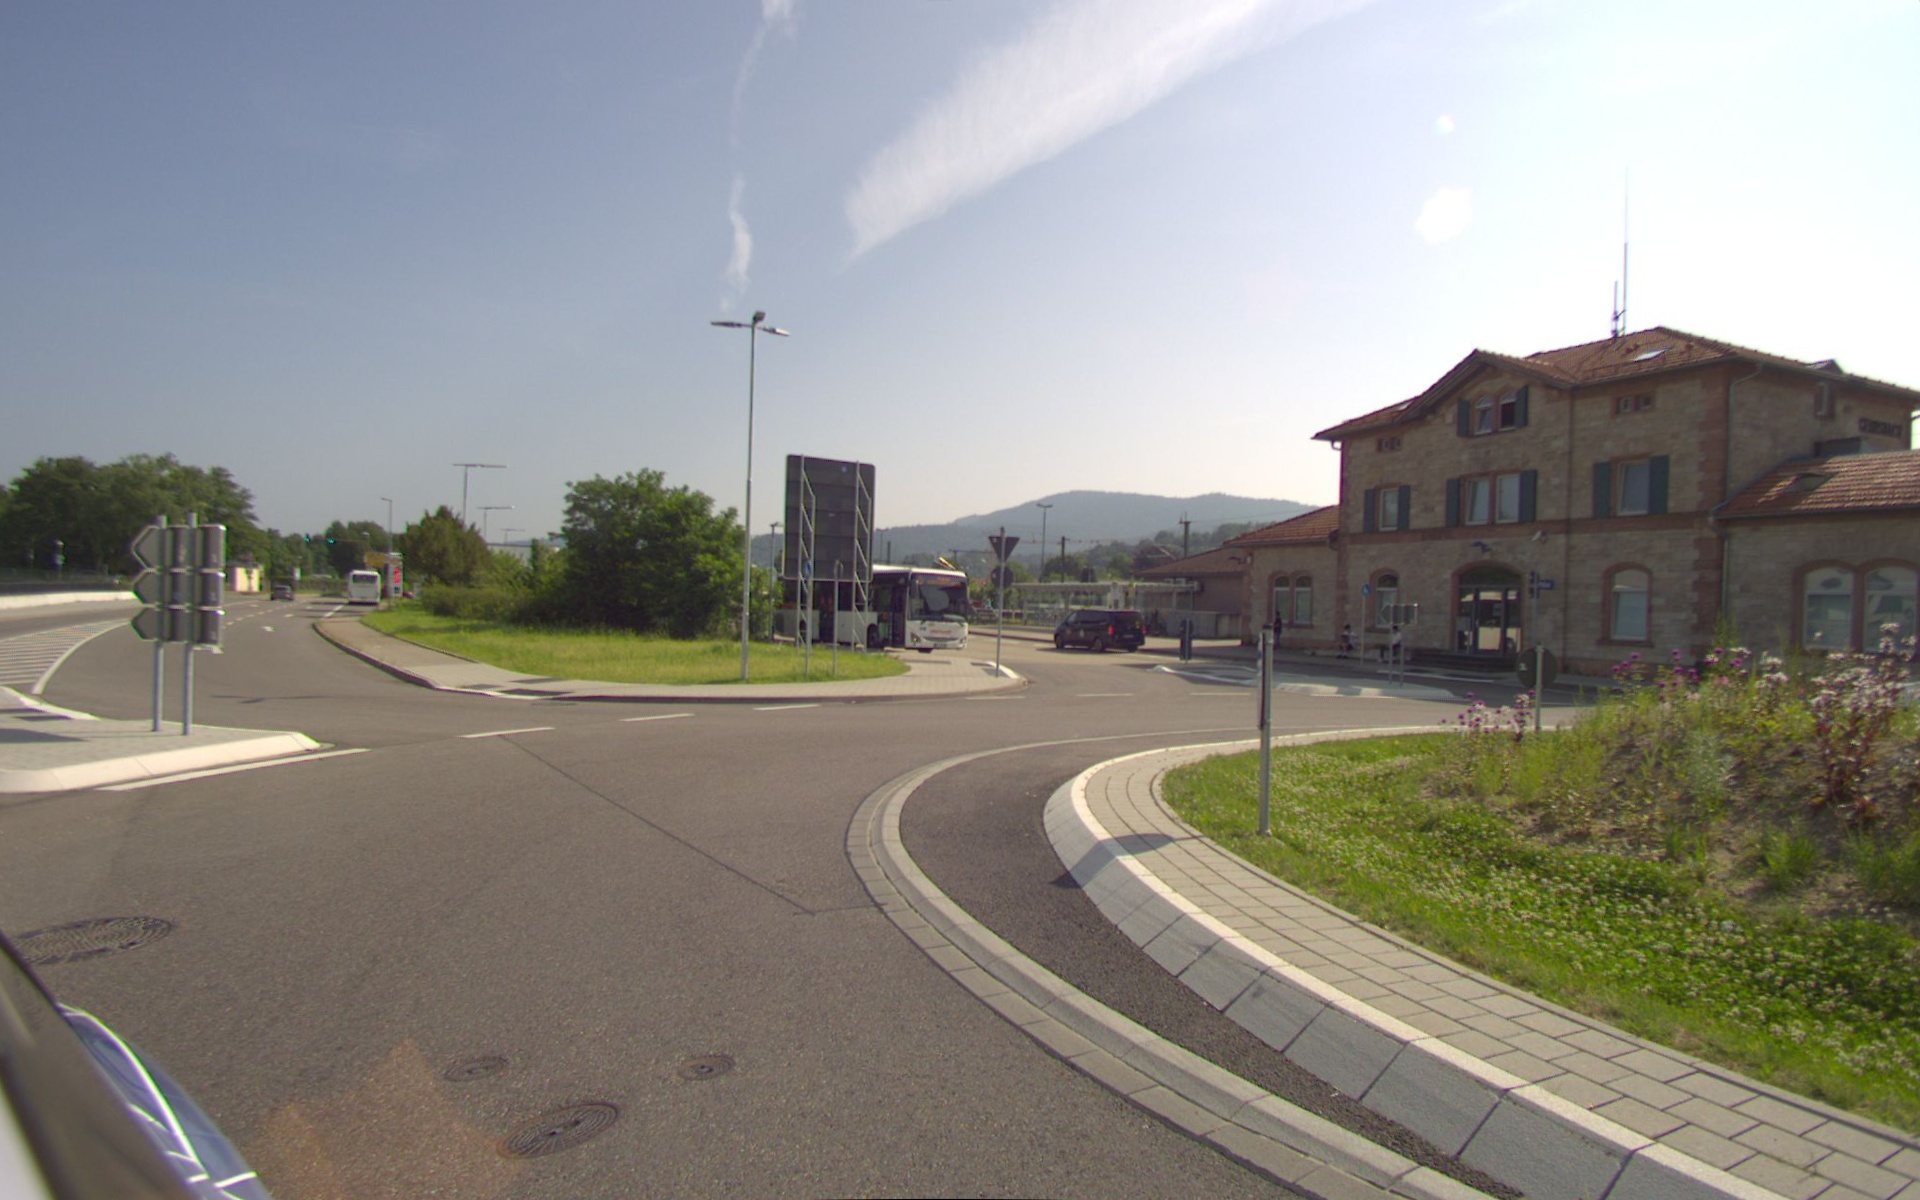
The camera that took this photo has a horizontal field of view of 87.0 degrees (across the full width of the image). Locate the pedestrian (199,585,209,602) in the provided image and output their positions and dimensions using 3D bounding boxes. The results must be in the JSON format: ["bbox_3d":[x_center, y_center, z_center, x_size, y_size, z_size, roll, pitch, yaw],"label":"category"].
[{"bbox_3d":[-75.200,-0.616,100.633,0.701,1.684,0.594,3,-1,-36],"label":"pedestrian"}]

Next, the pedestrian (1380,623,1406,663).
[{"bbox_3d":[14.922,1.473,34.868,0.557,1.359,0.554,2,-1,-24],"label":"pedestrian"}]

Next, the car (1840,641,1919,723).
[{"bbox_3d":[15.532,1.273,15.246,3.233,1.181,1.377,1,-1,33],"label":"car"}]

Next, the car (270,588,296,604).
[{"bbox_3d":[-66.122,-0.372,98.906,1.747,1.484,4.233,3,0,-29],"label":"car"}]

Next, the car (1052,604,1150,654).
[{"bbox_3d":[6.131,1.239,44.526,1.813,1.960,4.898,2,0,-25],"label":"car"}]

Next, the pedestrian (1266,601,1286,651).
[{"bbox_3d":[13.026,1.060,41.744,0.522,2.029,0.579,2,-1,-9],"label":"pedestrian"}]

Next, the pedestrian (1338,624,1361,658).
[{"bbox_3d":[14.156,1.476,36.787,0.435,1.213,0.586,2,-1,-27],"label":"pedestrian"}]

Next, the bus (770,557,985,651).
[{"bbox_3d":[-3.674,0.149,39.743,3.023,3.147,11.752,1,-1,-34],"label":"bus"}]

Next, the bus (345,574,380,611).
[{"bbox_3d":[-57.470,-0.763,97.450,2.584,3.335,11.994,3,0,-30],"label":"bus"}]
